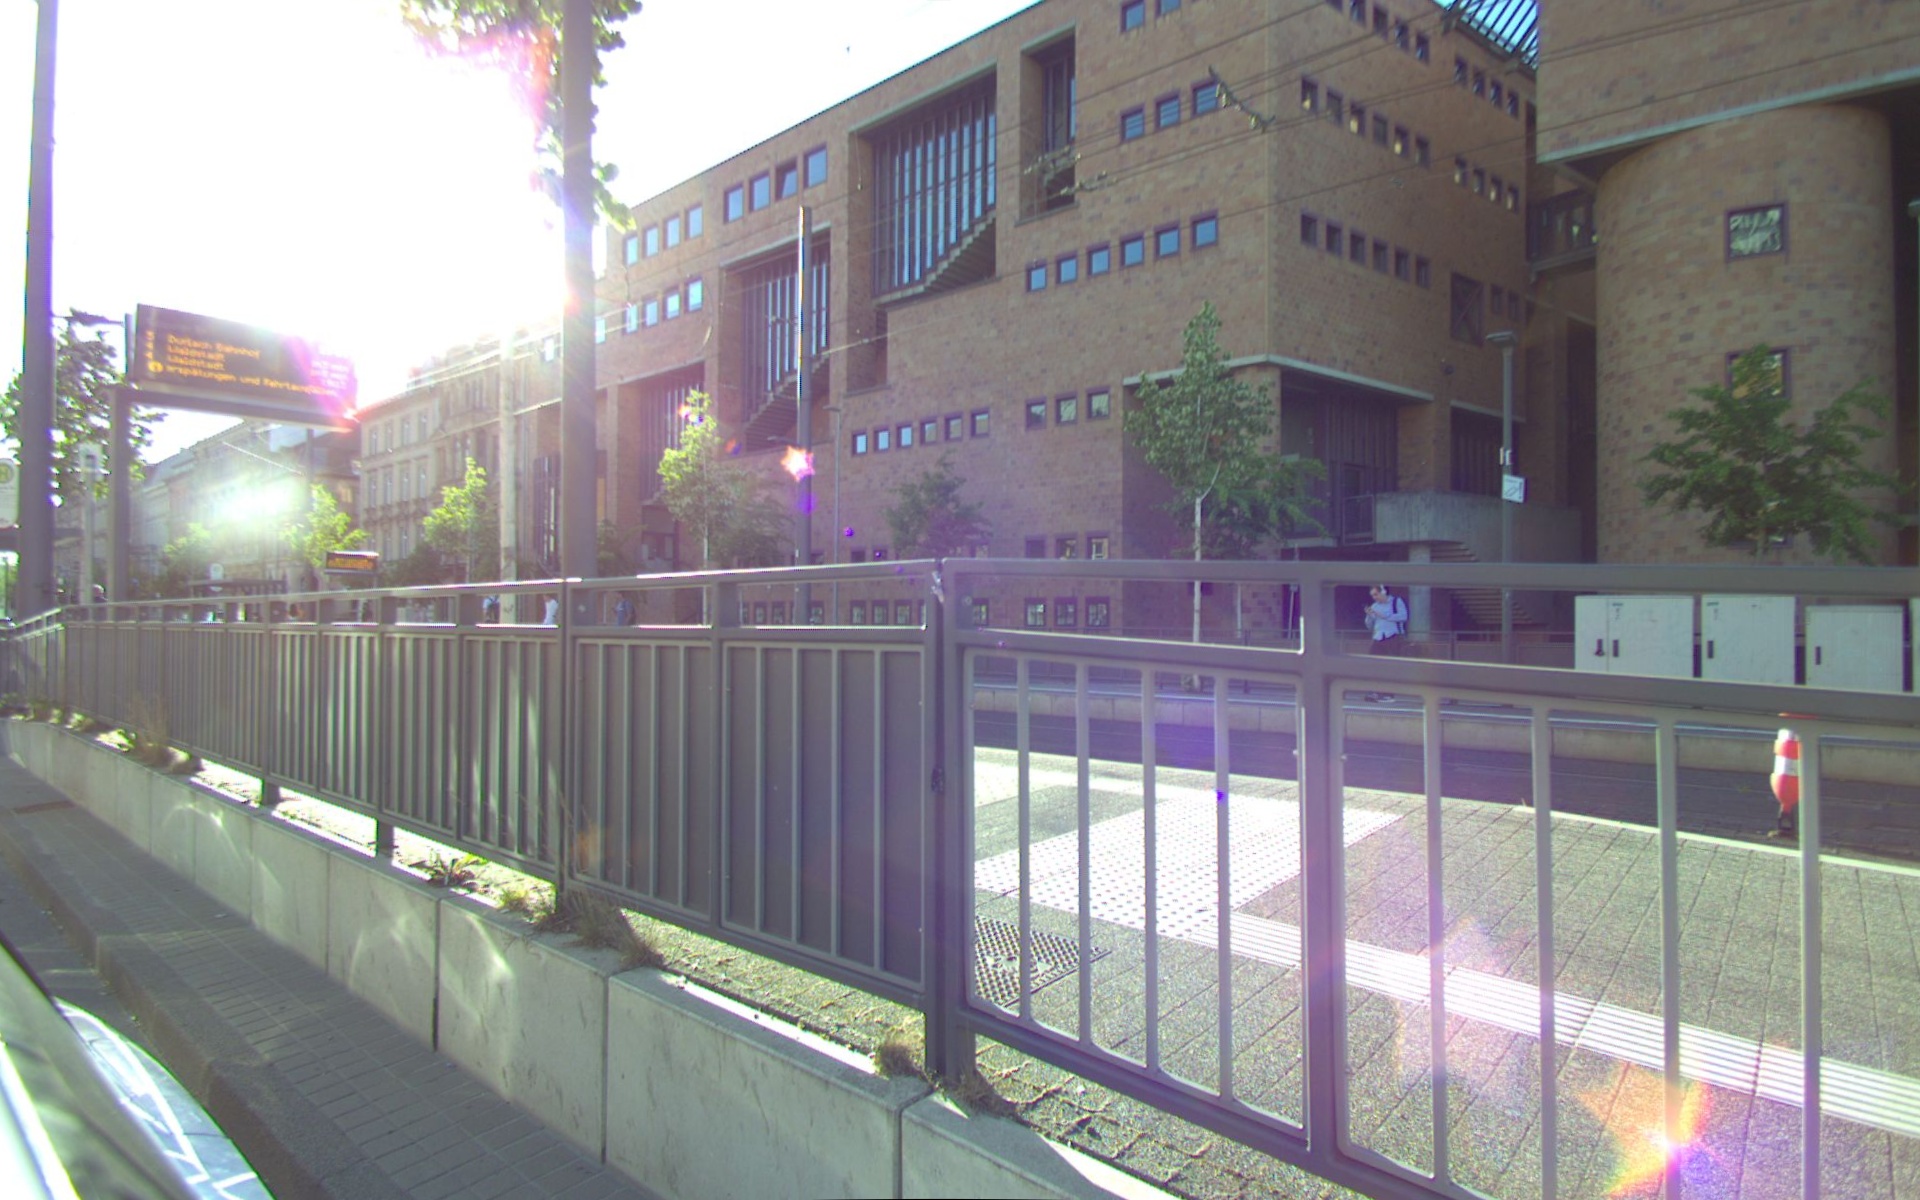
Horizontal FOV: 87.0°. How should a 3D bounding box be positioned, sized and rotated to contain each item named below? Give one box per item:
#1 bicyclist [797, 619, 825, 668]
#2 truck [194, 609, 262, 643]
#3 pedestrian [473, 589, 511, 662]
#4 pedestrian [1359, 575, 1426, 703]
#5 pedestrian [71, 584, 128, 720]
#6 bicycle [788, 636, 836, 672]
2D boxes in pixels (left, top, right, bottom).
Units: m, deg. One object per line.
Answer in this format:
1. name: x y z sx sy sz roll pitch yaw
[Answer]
1. bicyclist: -4.801 1.381 32.598 0.650 1.545 0.580 0 0 41
2. truck: -43.000 1.545 59.436 5.151 1.894 1.973 -2 -4 40
3. pedestrian: -11.990 0.644 25.929 0.668 1.821 0.677 0 0 40
4. pedestrian: 5.746 0.501 13.445 0.684 1.647 0.660 0 0 37
5. pedestrian: -15.956 0.945 18.772 0.625 2.461 0.676 0 0 38
6. bicycle: -4.779 1.715 32.580 1.814 1.098 0.455 0 -3 42
